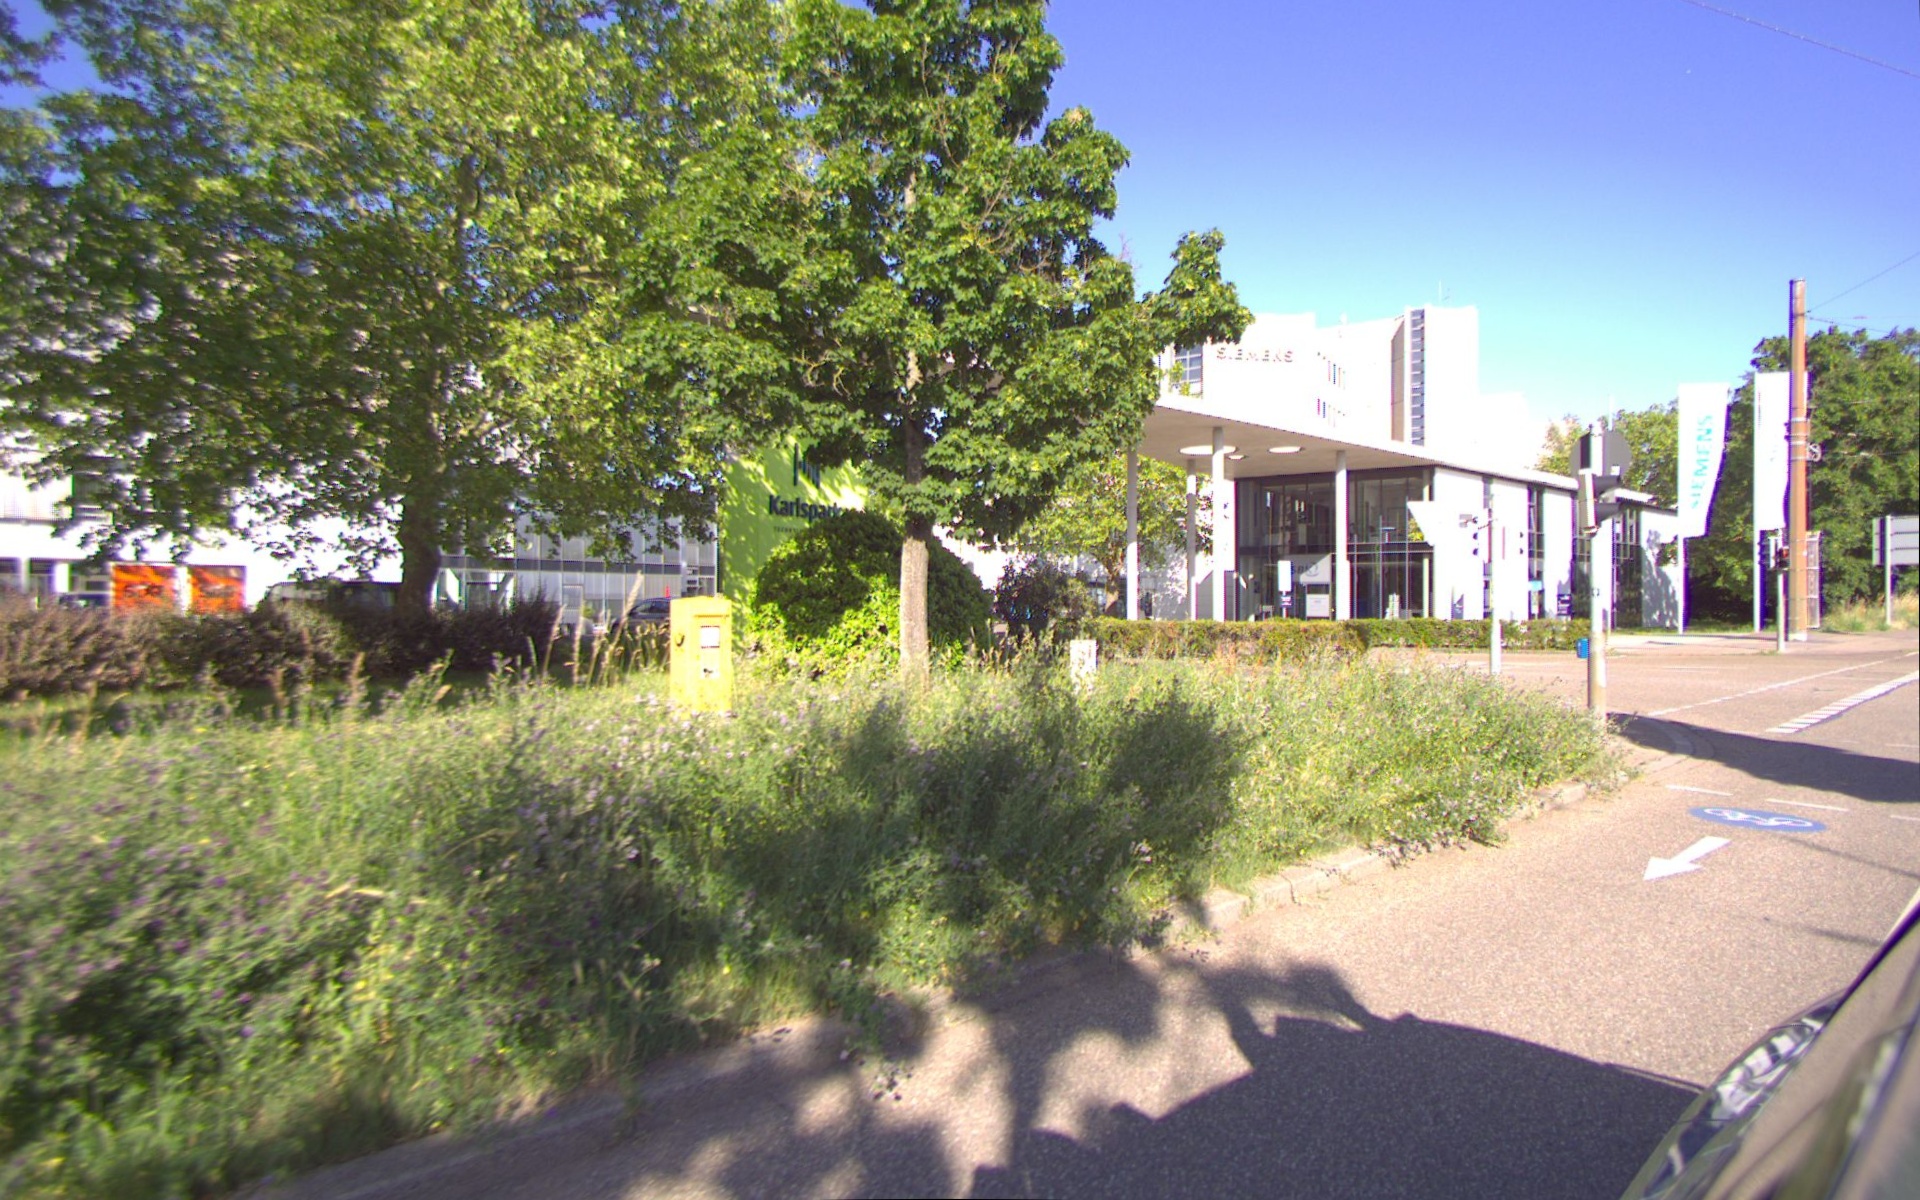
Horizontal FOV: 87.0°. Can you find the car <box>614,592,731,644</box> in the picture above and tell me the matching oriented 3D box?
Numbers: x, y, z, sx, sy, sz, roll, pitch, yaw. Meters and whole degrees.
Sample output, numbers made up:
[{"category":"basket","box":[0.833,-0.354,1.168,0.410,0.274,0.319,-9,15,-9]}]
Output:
[{"category":"car","box":[-9.544,0.564,33.462,3.985,1.598,1.924,0,0,43]}]

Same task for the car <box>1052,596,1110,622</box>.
[{"category":"car","box":[7.111,0.497,59.017,1.767,1.462,3.950,0,1,34]}]

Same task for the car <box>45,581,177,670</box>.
[{"category":"car","box":[-18.245,0.467,21.681,1.864,1.707,4.459,-1,0,-44]}]

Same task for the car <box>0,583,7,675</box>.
[{"category":"car","box":[-20.024,0.550,19.871,1.864,1.707,4.459,-1,0,-44]}]

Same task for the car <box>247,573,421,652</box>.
[{"category":"car","box":[-15.621,0.277,25.173,4.868,1.779,2.064,0,0,37]}]
